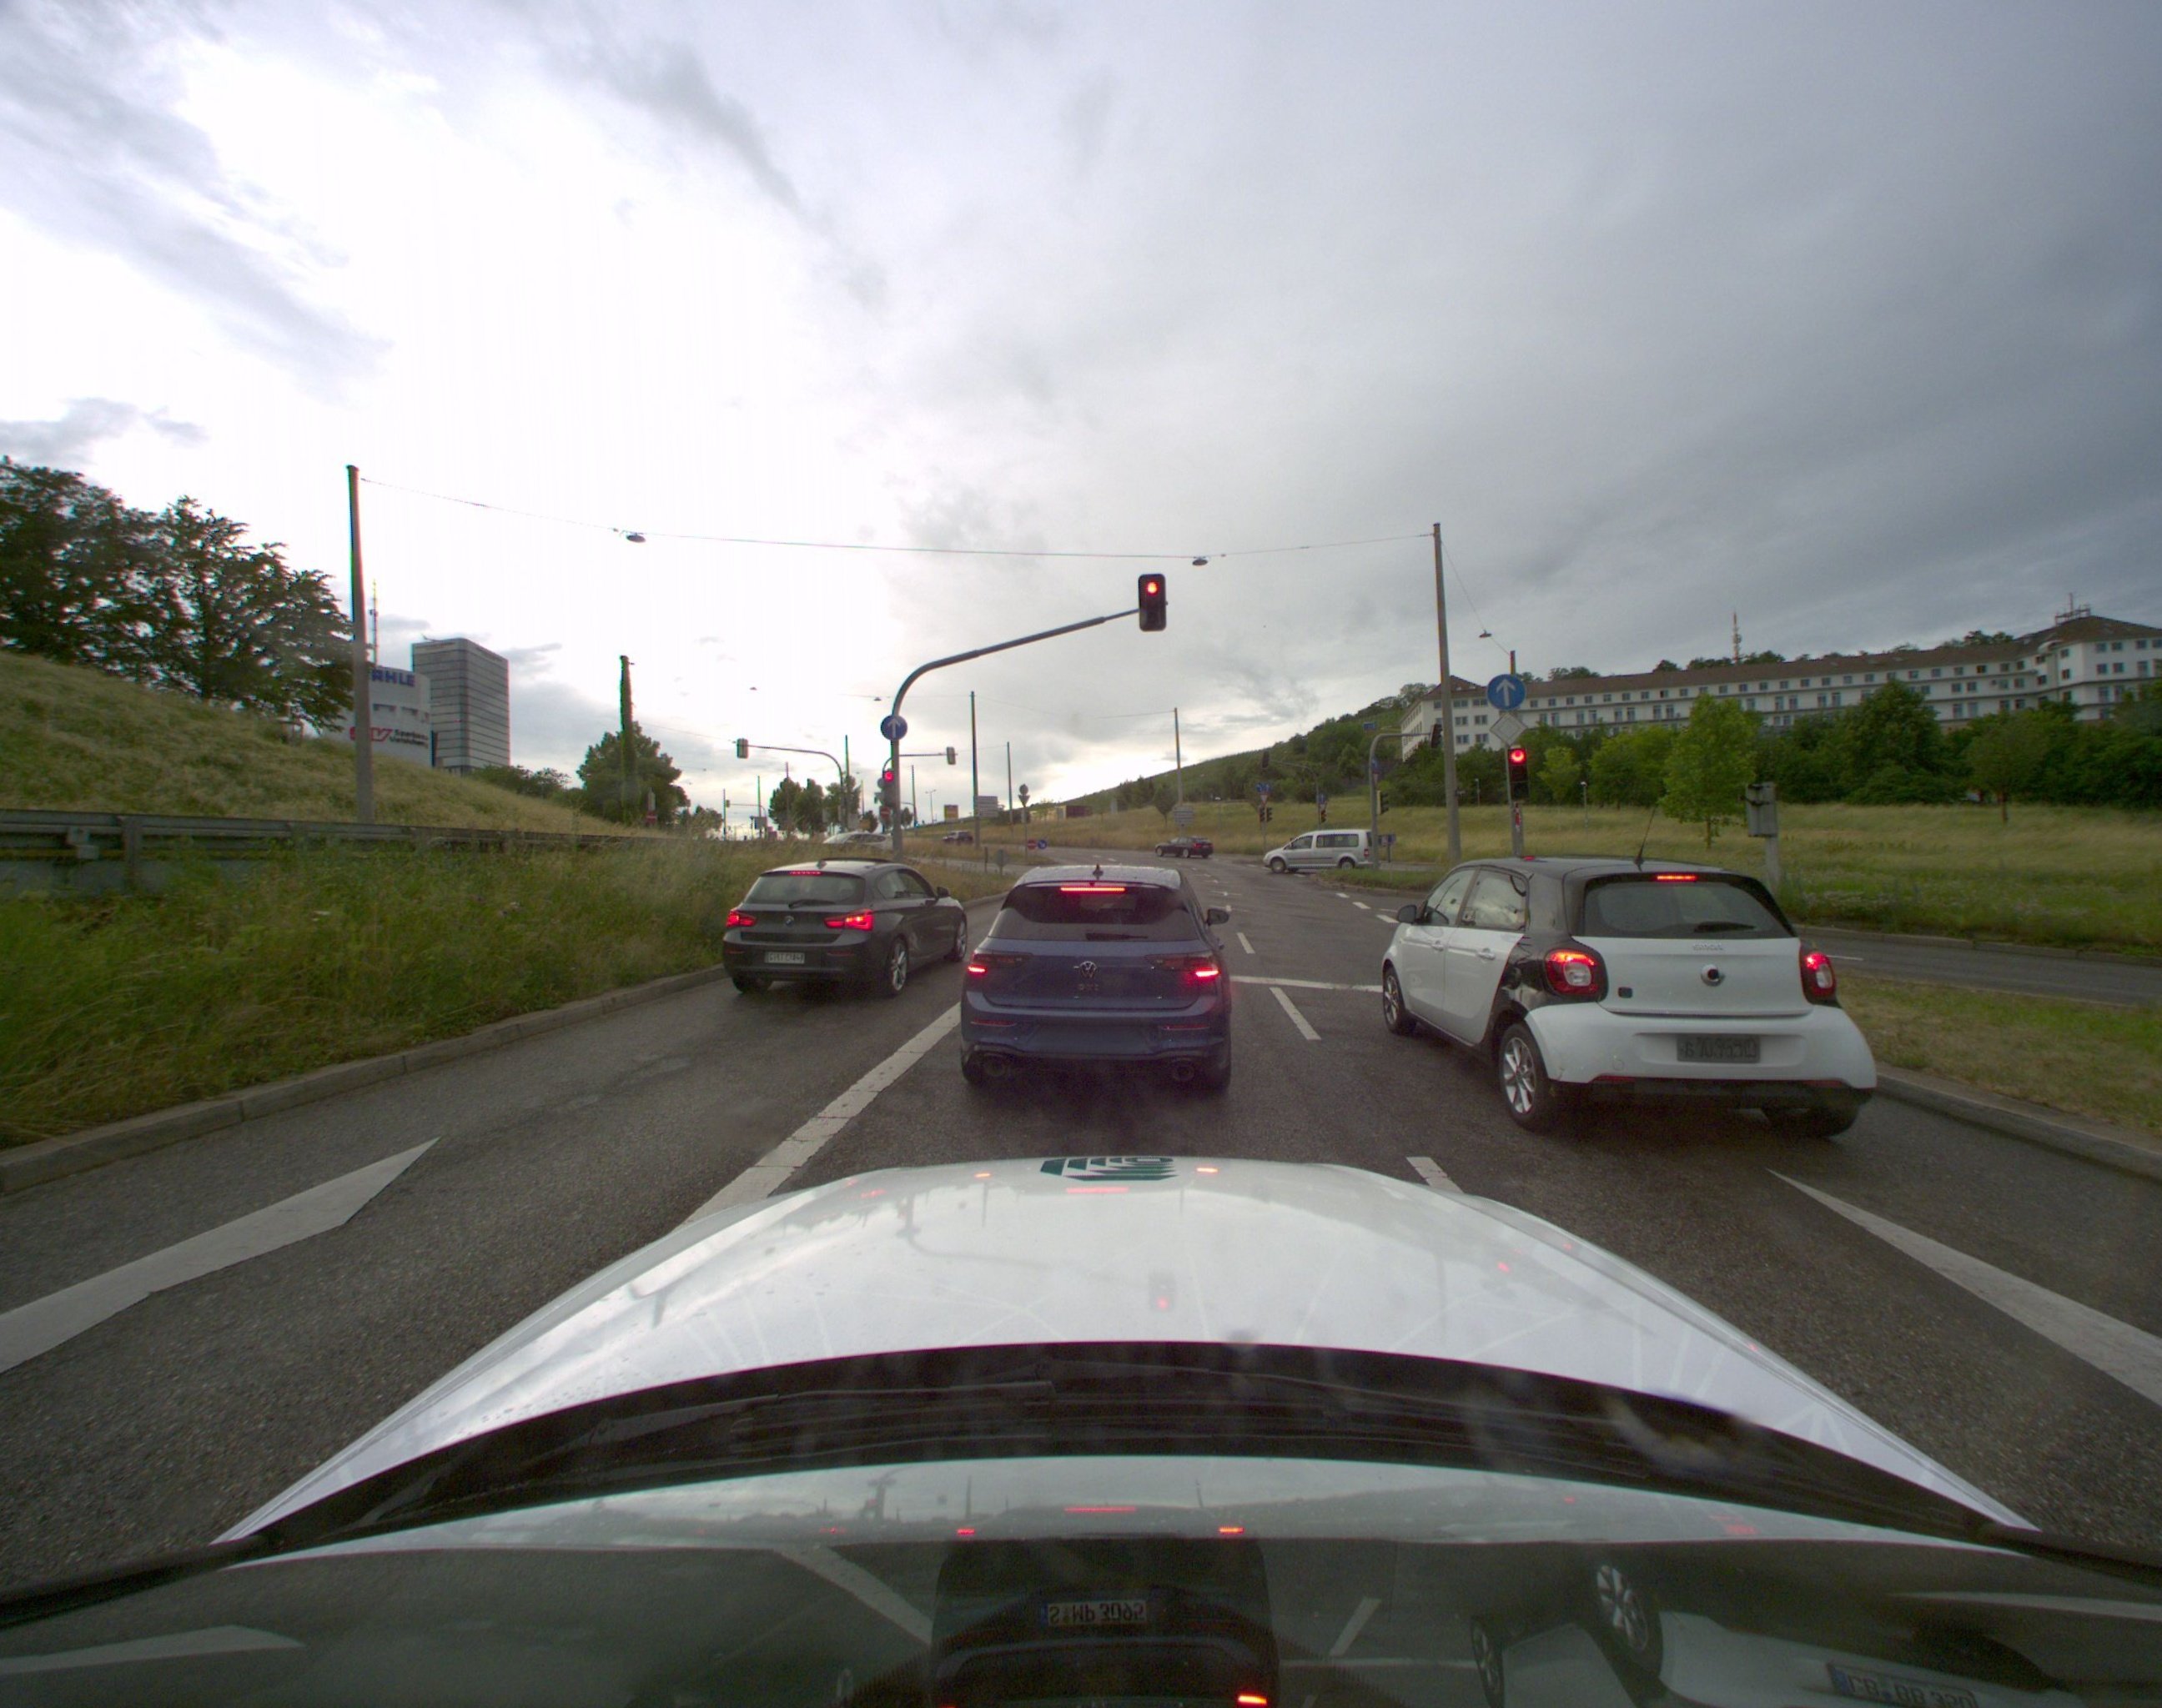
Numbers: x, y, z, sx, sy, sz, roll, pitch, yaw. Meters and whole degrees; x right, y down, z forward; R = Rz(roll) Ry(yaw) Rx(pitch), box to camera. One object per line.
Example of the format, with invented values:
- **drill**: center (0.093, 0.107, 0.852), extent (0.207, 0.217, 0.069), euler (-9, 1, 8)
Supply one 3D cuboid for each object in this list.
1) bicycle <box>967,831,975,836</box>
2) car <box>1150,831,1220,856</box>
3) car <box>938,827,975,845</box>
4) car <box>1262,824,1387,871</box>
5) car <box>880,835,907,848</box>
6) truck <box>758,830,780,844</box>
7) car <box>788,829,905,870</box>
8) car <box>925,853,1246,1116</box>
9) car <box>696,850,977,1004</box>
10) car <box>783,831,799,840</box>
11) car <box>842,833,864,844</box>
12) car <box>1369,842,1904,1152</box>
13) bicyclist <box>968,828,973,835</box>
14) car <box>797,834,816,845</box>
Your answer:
- **bicycle**: center (-15.648, -2.914, 115.636), extent (0.521, 0.775, 1.605), euler (2, 0, -31)
- **car**: center (6.967, -0.666, 55.011), extent (2.008, 1.618, 4.801), euler (0, 0, -34)
- **car**: center (-12.771, -1.807, 83.393), extent (2.008, 1.637, 4.373), euler (0, -1, -35)
- **car**: center (10.098, -0.221, 33.977), extent (4.637, 1.850, 1.833), euler (-1, -1, 37)
- **car**: center (-23.640, -1.567, 102.557), extent (2.008, 1.477, 4.455), euler (0, -1, -33)
- **truck**: center (-70.363, -3.871, 183.591), extent (3.281, 3.074, 6.111), euler (2, 0, -35)
- **car**: center (-9.974, -0.163, 34.938), extent (1.974, 1.620, 4.553), euler (-1, -1, 37)
- **car**: center (0.246, 0.737, 6.517), extent (1.815, 1.460, 3.816), euler (-1, 0, 7)
- **car**: center (-2.645, 0.708, 9.934), extent (1.693, 1.459, 4.123), euler (-1, 0, 7)
- **car**: center (-57.986, -3.667, 162.804), extent (2.008, 1.659, 4.497), euler (0, -1, -33)
- **car**: center (-33.548, -2.224, 119.717), extent (2.007, 1.477, 4.375), euler (0, -1, -33)
- **car**: center (3.321, 0.722, 5.739), extent (1.649, 1.503, 3.456), euler (-1, -1, 6)
- **bicyclist**: center (-15.674, -3.211, 115.682), extent (0.527, 1.046, 0.574), euler (2, 0, -32)
- **car**: center (-47.957, -2.529, 142.350), extent (2.144, 1.794, 4.691), euler (0, -1, -33)
